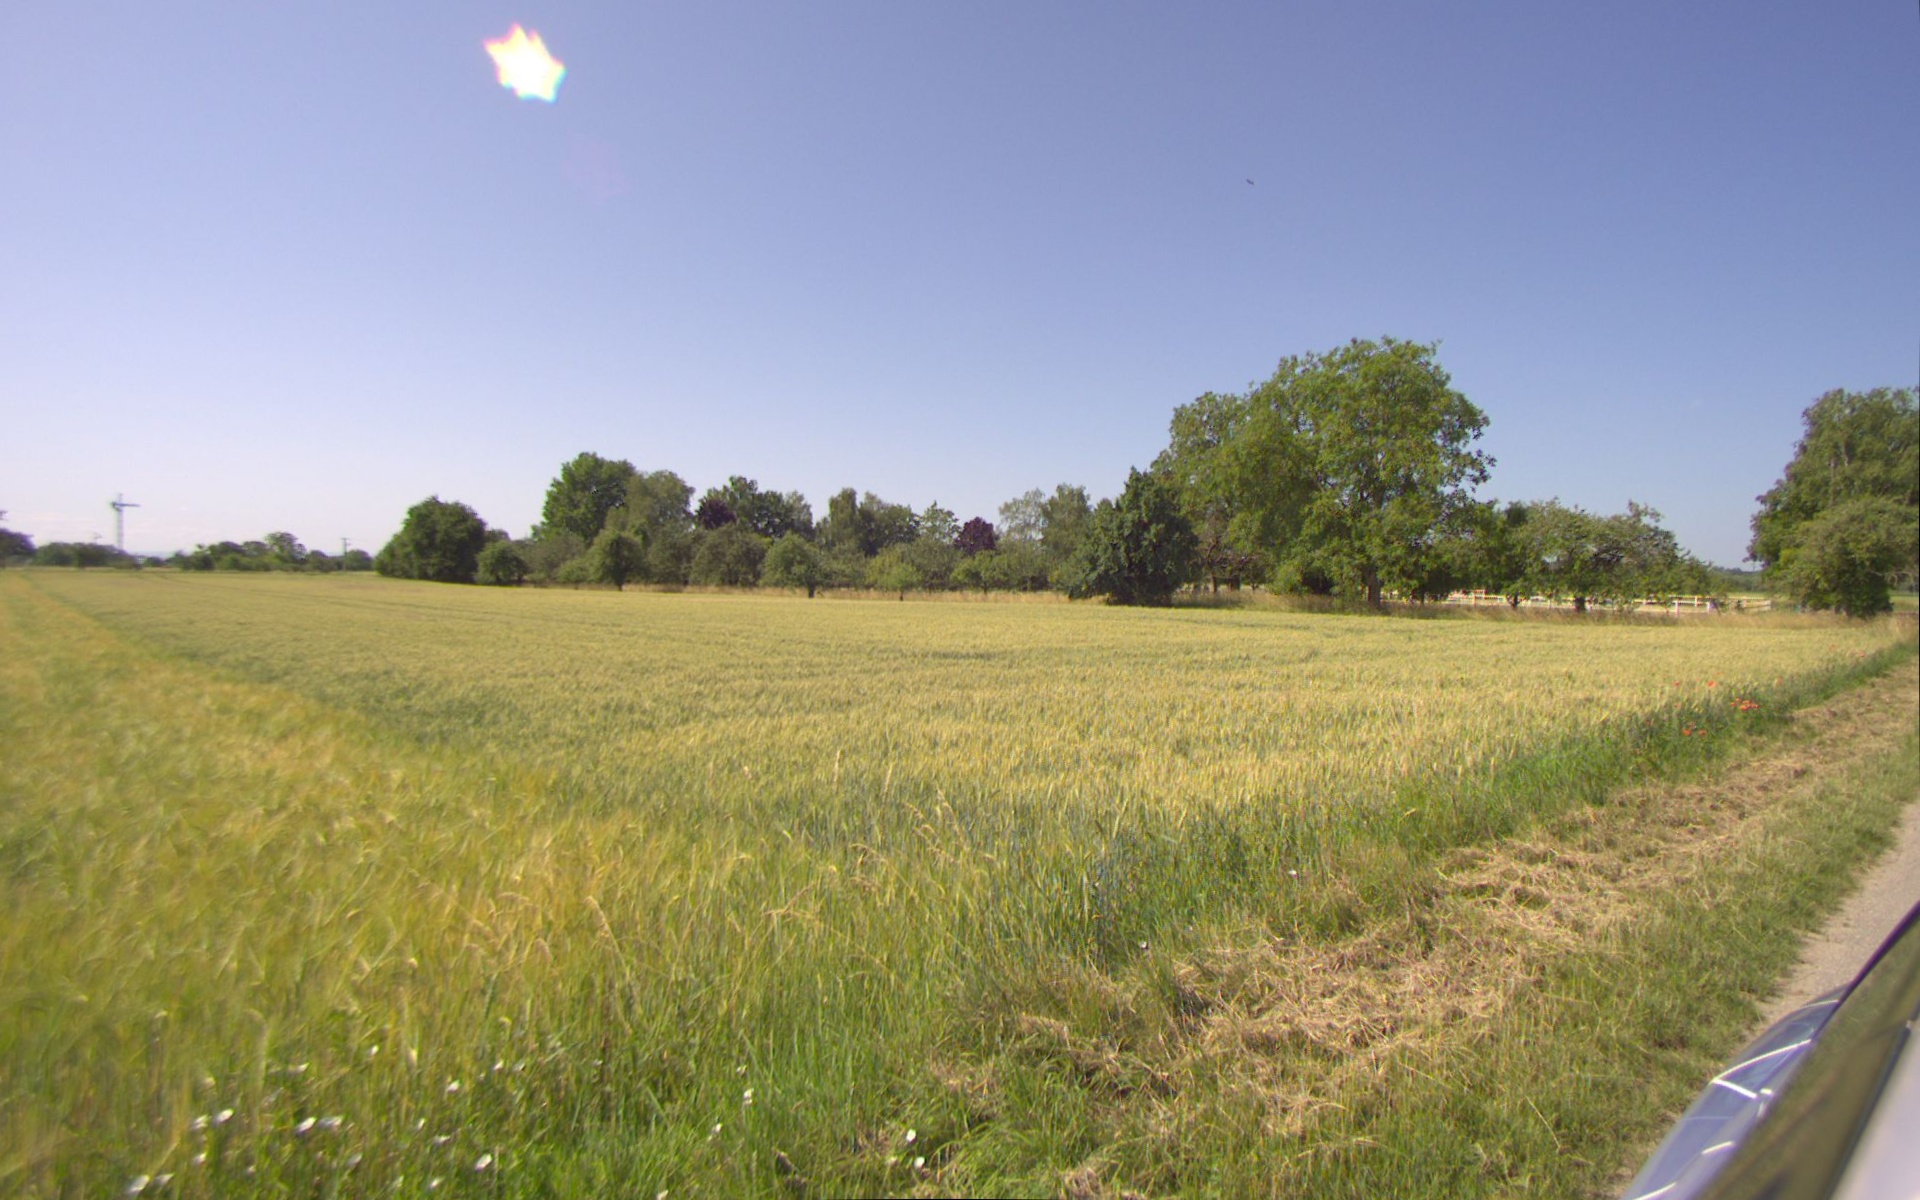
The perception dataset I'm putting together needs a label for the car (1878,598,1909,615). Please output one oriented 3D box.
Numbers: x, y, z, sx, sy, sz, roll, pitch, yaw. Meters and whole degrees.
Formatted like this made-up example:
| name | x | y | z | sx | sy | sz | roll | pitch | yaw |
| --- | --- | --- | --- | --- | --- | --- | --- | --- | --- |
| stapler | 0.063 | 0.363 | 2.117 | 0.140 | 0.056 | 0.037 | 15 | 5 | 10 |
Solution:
| name | x | y | z | sx | sy | sz | roll | pitch | yaw |
| --- | --- | --- | --- | --- | --- | --- | --- | --- | --- |
| car | 80.608 | 0.532 | 87.383 | 1.715 | 1.336 | 3.690 | 2 | 1 | 39 |
